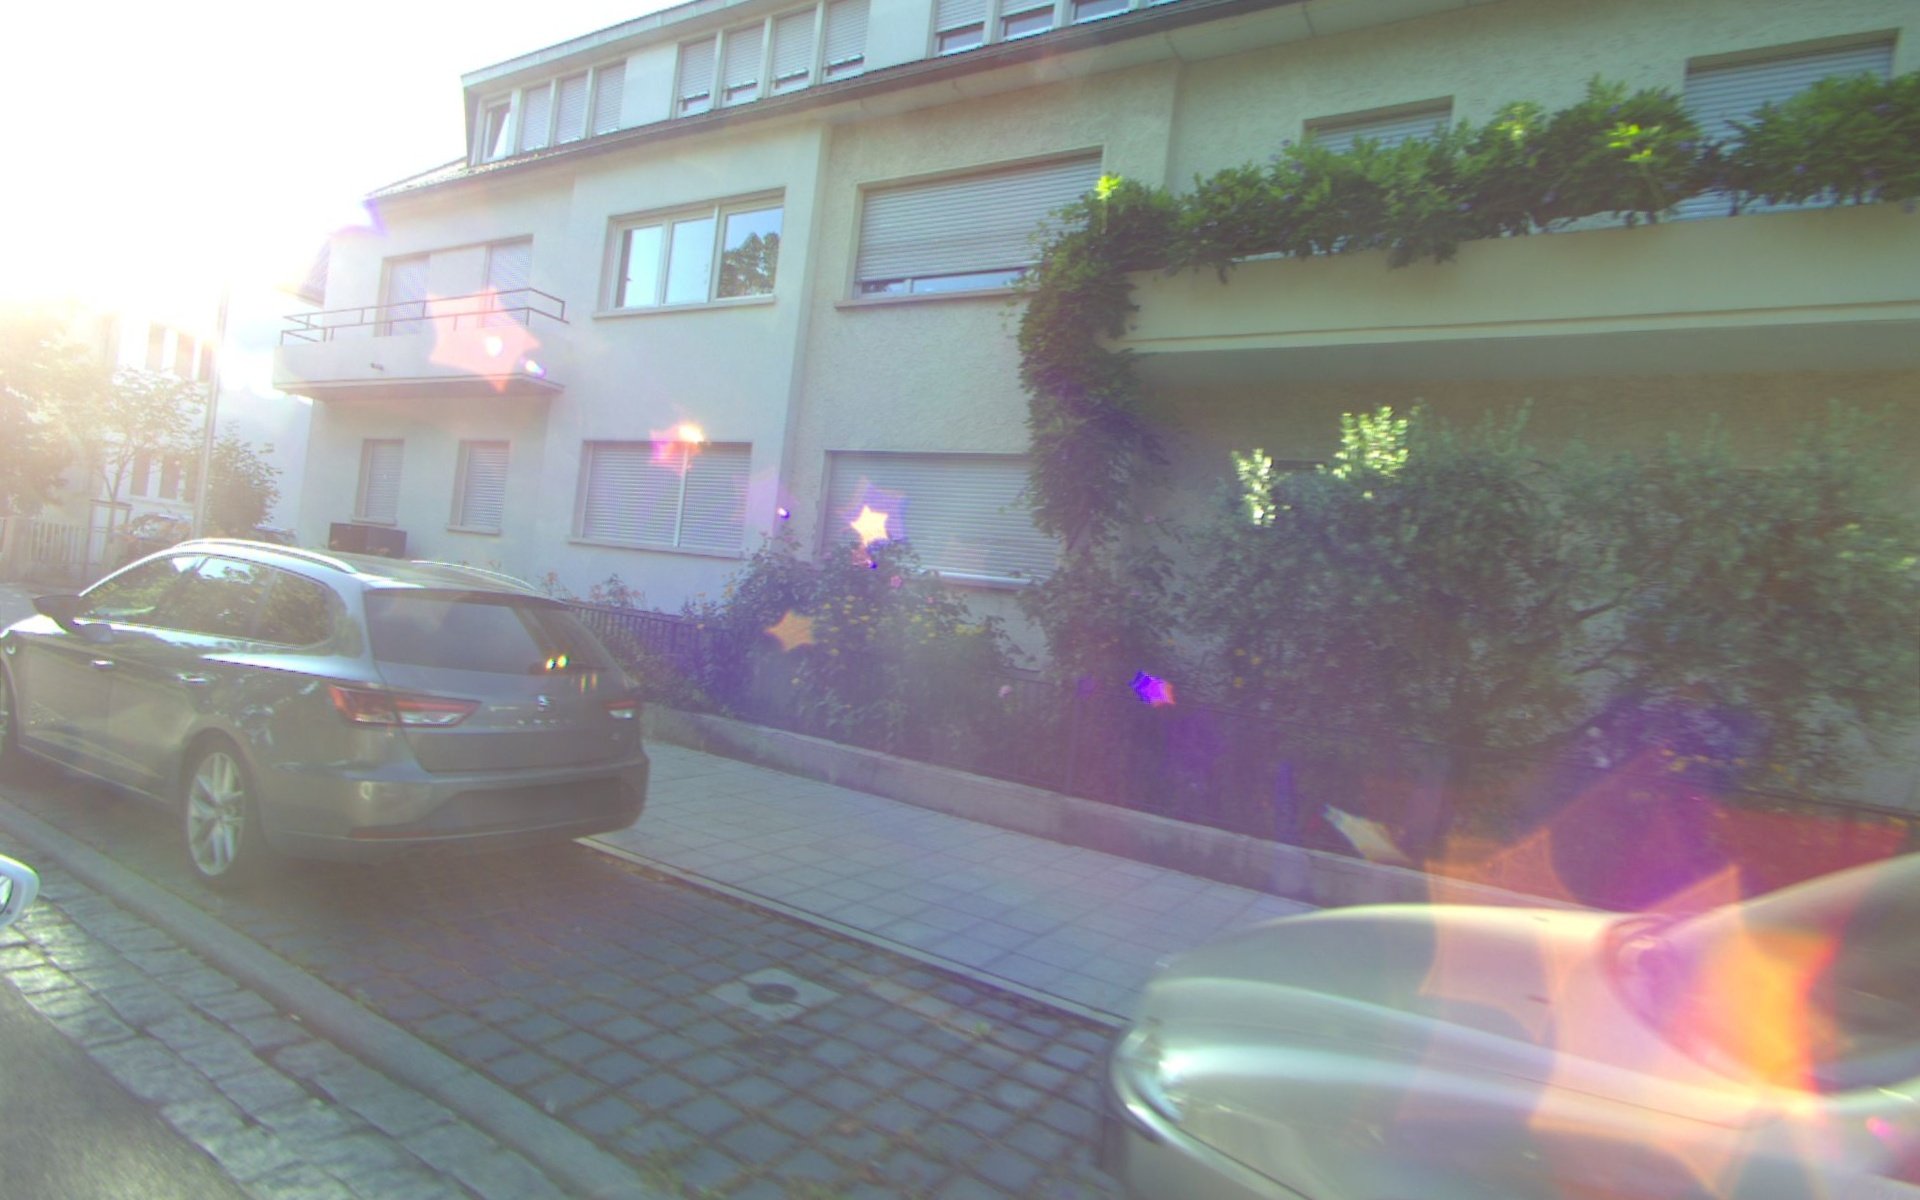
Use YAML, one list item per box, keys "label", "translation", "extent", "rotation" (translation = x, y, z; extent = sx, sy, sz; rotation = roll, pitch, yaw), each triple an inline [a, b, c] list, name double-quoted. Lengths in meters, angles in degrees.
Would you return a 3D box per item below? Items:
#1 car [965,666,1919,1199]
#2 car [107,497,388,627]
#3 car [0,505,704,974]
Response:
- label: "car"
  translation: [2.210, 1.080, 1.873]
  extent: [4.011, 1.398, 1.795]
  rotation: [6, 1, 32]
- label: "car"
  translation: [-13.881, -0.661, 19.883]
  extent: [1.783, 1.865, 3.997]
  rotation: [8, -2, 26]
- label: "car"
  translation: [-3.564, 0.427, 5.408]
  extent: [4.124, 1.513, 1.795]
  rotation: [6, 1, 32]
